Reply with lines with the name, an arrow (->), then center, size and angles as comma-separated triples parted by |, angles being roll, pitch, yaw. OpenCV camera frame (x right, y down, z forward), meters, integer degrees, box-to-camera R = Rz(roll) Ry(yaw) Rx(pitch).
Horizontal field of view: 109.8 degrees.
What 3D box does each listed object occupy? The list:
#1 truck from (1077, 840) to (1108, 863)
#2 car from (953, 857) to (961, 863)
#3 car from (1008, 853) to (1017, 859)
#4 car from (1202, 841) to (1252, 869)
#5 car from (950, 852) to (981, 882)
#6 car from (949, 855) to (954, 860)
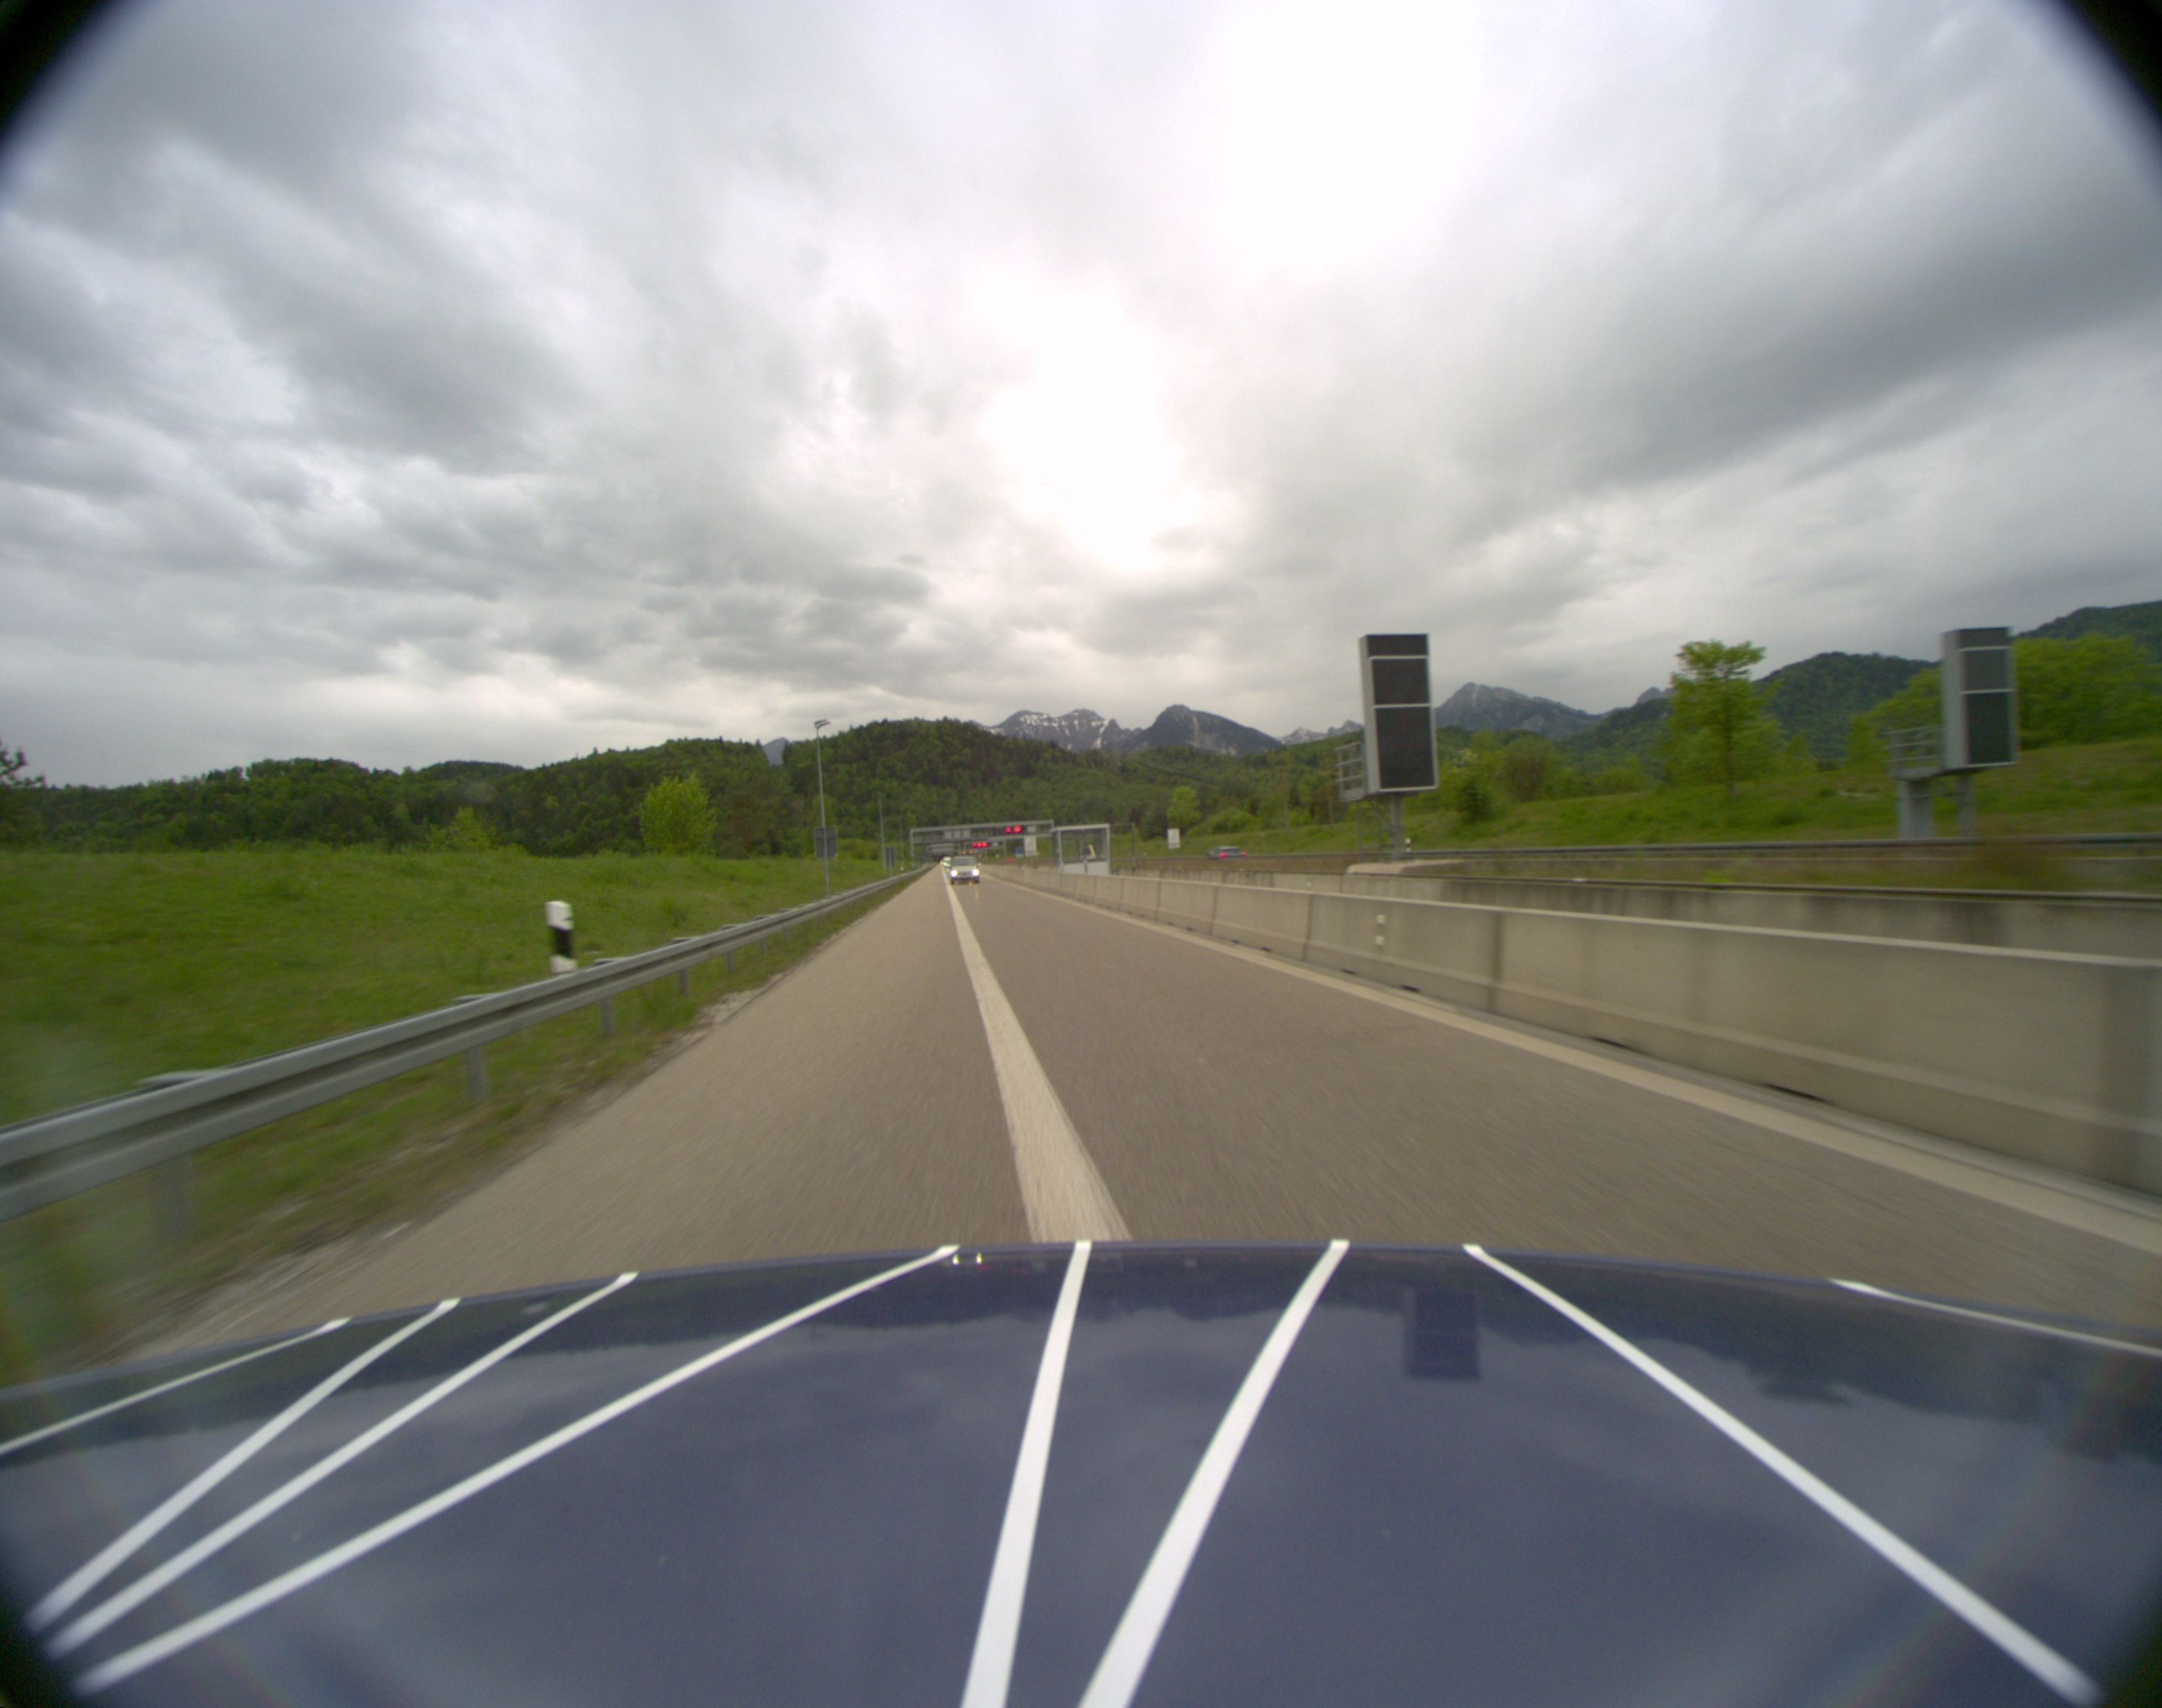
truck -> 1.264, -0.240, 87.484 | 2.365, 2.465, 5.982 | -3, 0, -11
car -> -29.612, 1.461, 181.143 | 1.665, 1.329, 3.789 | -2, 0, -10
car -> -17.012, 0.519, 189.240 | 1.708, 1.566, 4.173 | -4, 0, -10
car -> 8.816, 0.061, 46.130 | 1.613, 1.492, 3.834 | -3, 0, -11
car -> -8.012, 0.844, 52.634 | 1.924, 1.871, 5.134 | -2, 1, -9
car -> -43.955, 1.078, 257.684 | 1.631, 1.688, 3.494 | -2, 0, -6
